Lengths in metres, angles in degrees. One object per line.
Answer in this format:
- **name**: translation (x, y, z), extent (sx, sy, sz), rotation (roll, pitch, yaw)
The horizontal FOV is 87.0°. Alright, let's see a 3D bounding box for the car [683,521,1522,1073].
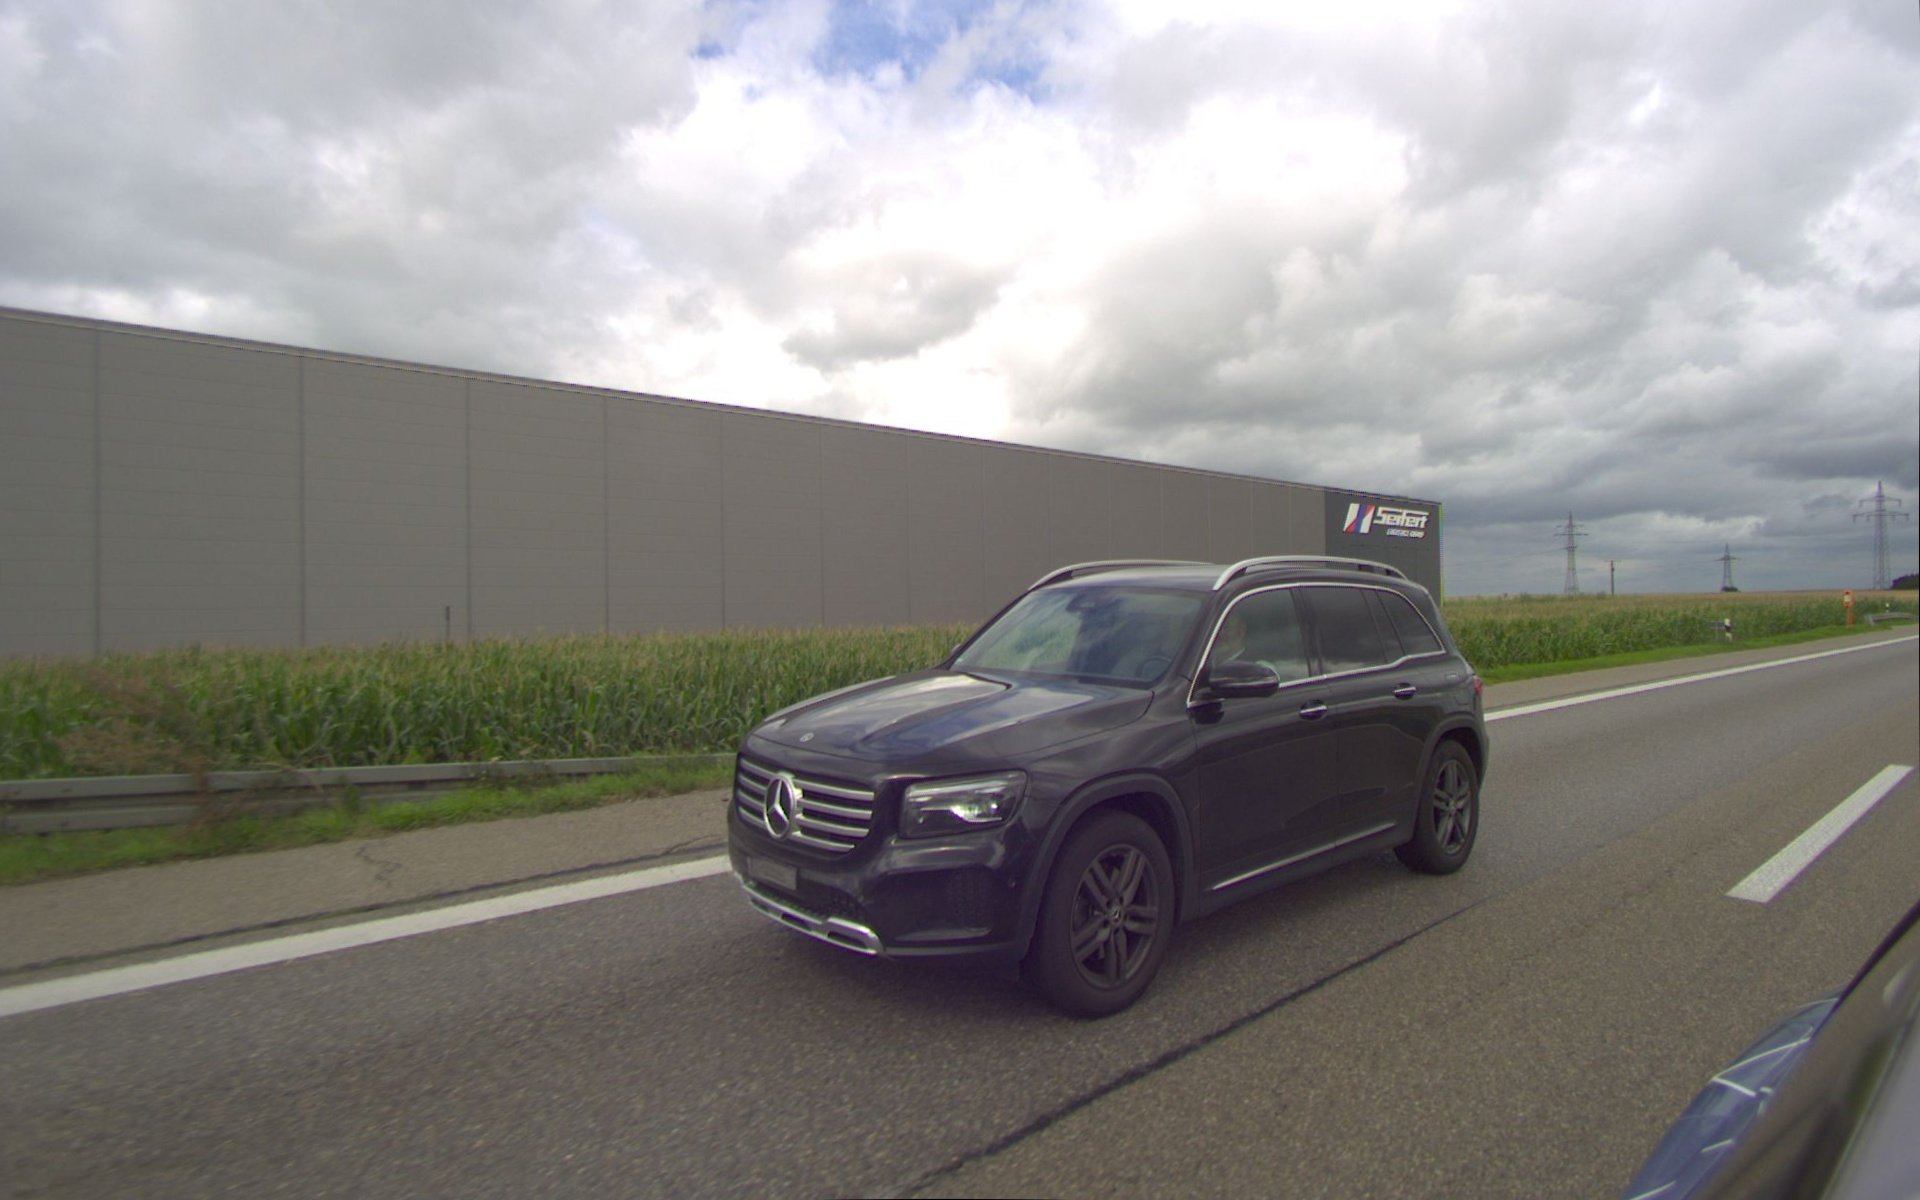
- **car**: translation (1.007, 0.550, 5.090), extent (4.284, 1.629, 1.837), rotation (-1, 1, -41)
